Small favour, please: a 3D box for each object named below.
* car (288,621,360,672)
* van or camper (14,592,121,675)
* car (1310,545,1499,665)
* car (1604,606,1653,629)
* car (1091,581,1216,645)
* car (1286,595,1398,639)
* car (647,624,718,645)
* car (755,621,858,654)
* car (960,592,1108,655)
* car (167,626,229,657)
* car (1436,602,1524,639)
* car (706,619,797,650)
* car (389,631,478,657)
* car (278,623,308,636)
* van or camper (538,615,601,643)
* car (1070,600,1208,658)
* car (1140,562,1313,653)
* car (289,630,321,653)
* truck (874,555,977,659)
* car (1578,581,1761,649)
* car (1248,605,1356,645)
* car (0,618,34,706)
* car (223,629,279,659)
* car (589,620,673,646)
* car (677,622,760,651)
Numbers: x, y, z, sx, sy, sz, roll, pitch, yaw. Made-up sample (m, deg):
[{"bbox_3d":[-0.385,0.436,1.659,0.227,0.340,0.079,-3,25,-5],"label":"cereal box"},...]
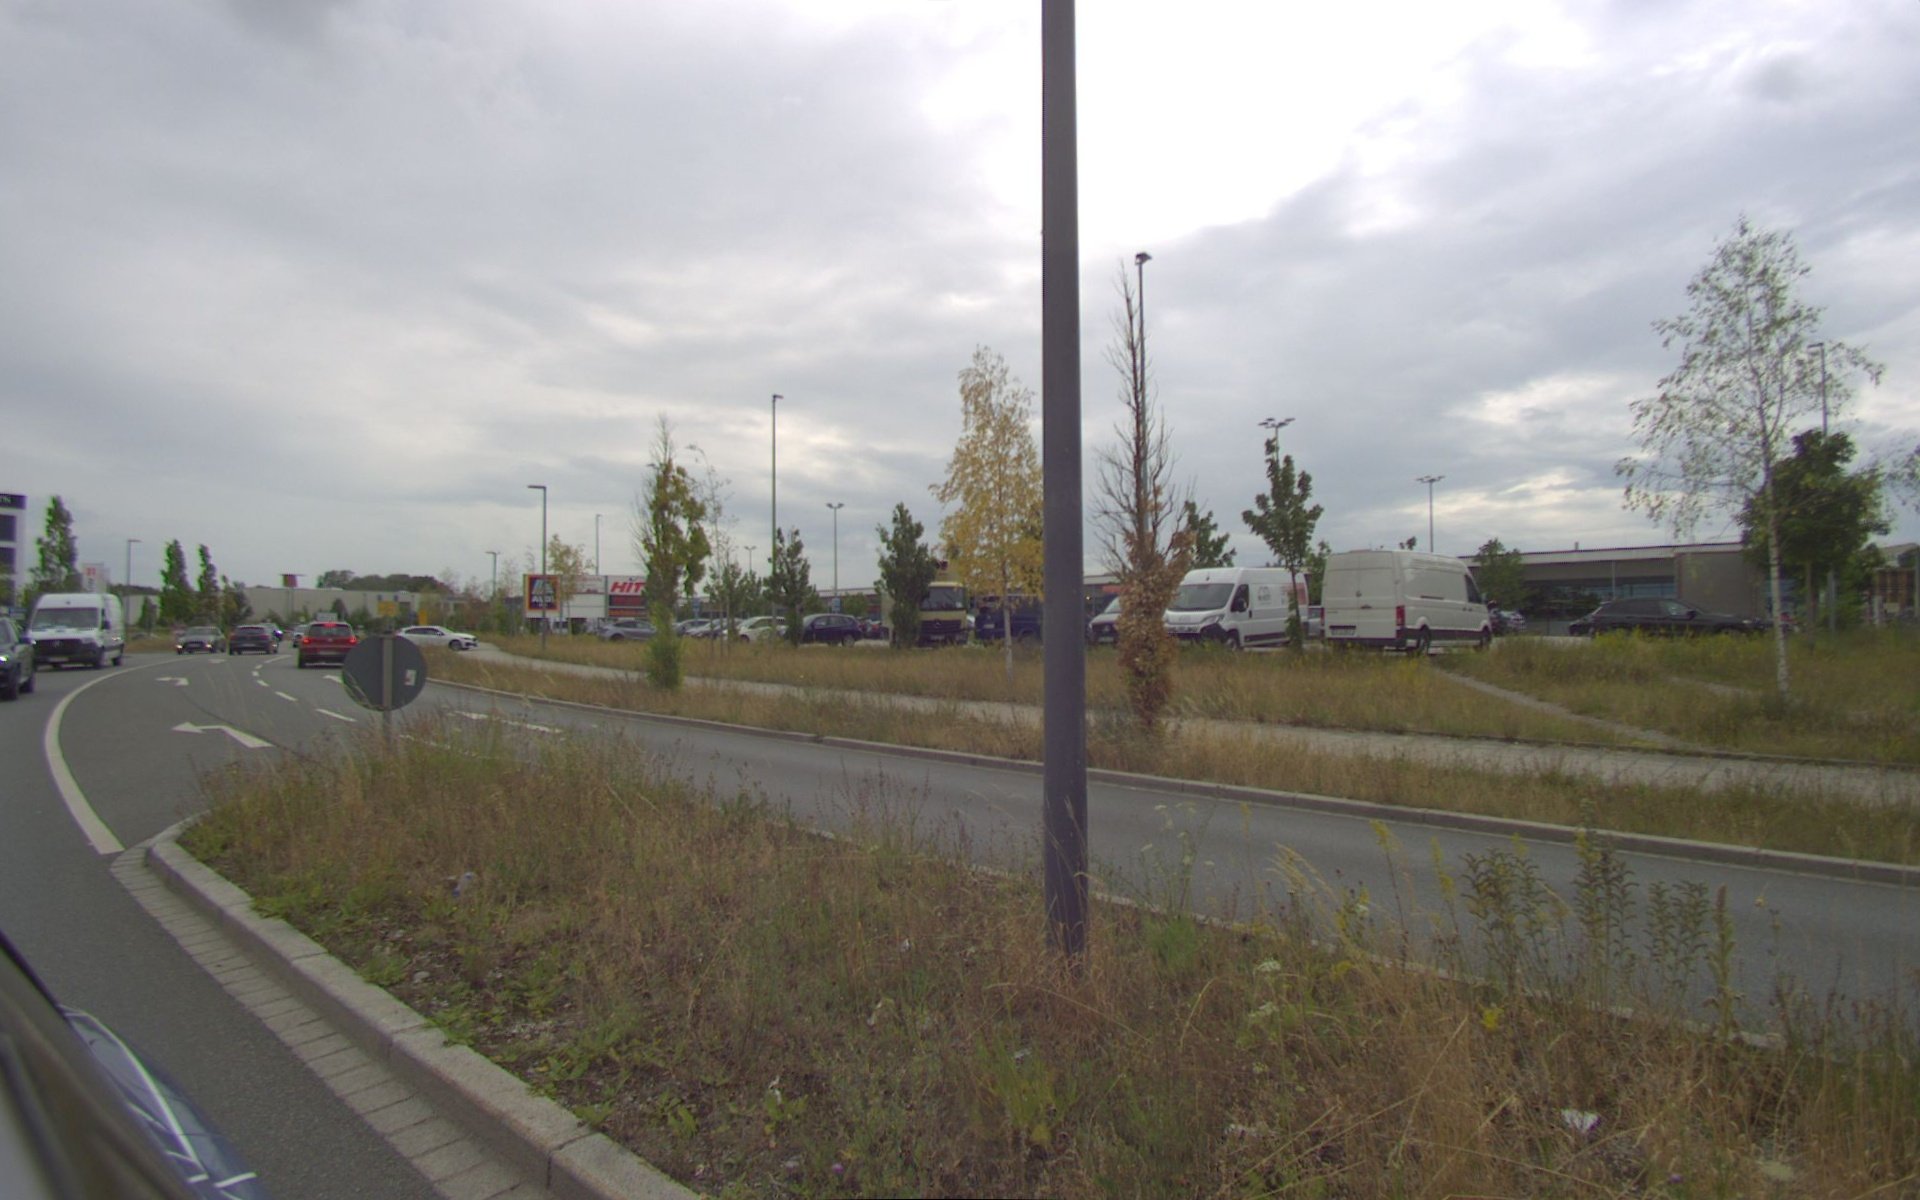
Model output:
[{"bbox_3d":[-22.971,1.672,36.502,1.775,1.682,4.336,4,-4,-36],"label":"car"},{"bbox_3d":[-30.883,1.174,35.202,2.228,2.636,5.710,1,-3,-36],"label":"van or camper"},{"bbox_3d":[11.136,0.178,25.045,2.244,2.618,6.336,-2,-2,43],"label":"car"},{"bbox_3d":[48.234,1.253,72.959,3.938,1.619,2.003,1,-2,-42],"label":"car"},{"bbox_3d":[8.618,0.636,45.325,5.137,2.711,2.039,-2,-3,37],"label":"car"},{"bbox_3d":[16.955,0.782,44.990,4.261,1.863,1.974,-1,-2,38],"label":"car"},{"bbox_3d":[-18.776,2.322,68.546,4.296,1.402,2.172,1,-2,-26],"label":"car"},{"bbox_3d":[-6.996,1.688,46.230,4.174,1.446,2.003,1,-3,-34],"label":"car"},{"bbox_3d":[2.546,0.814,34.368,4.839,2.005,2.183,1,-2,-39],"label":"car"},{"bbox_3d":[-41.074,2.227,54.661,1.727,1.597,4.013,0,-2,-23],"label":"car"},{"bbox_3d":[29.701,1.184,57.923,1.966,2.029,4.010,1,-2,-34],"label":"car"},{"bbox_3d":[-10.847,1.810,52.799,4.191,1.571,1.993,1,-3,-37],"label":"car"},{"bbox_3d":[-30.065,2.493,57.907,4.128,1.480,1.888,0,-2,-6],"label":"car"},{"bbox_3d":[-111.567,4.912,169.397,1.632,2.029,3.968,-1,-2,23],"label":"car"},{"bbox_3d":[-40.734,3.048,105.687,5.775,2.821,2.248,1,-2,-37],"label":"van or camper"},{"bbox_3d":[5.561,0.891,30.953,1.993,1.629,4.851,-2,-2,40],"label":"car"},{"bbox_3d":[7.674,0.250,28.696,2.210,2.324,6.003,-2,-2,42],"label":"car"},{"bbox_3d":[-42.867,2.719,66.214,1.679,1.449,4.043,1,-3,-34],"label":"car"},{"bbox_3d":[-1.539,0.339,39.339,2.812,3.568,8.446,0,-1,-10],"label":"truck"},{"bbox_3d":[22.842,0.514,32.681,4.636,2.048,1.973,-2,-3,41],"label":"car"},{"bbox_3d":[14.395,1.084,42.716,3.994,1.614,1.652,-1,-2,38],"label":"car"},{"bbox_3d":[-20.119,1.244,20.255,1.967,1.677,4.008,0,-2,-37],"label":"car"},{"bbox_3d":[-35.128,2.163,50.245,1.804,1.431,4.258,0,-2,-29],"label":"car"},{"bbox_3d":[-20.130,2.023,61.971,4.533,1.573,2.006,1,-3,-30],"label":"car"},{"bbox_3d":[-13.669,2.055,57.291,4.182,1.525,2.052,0,-2,-27],"label":"car"}]
